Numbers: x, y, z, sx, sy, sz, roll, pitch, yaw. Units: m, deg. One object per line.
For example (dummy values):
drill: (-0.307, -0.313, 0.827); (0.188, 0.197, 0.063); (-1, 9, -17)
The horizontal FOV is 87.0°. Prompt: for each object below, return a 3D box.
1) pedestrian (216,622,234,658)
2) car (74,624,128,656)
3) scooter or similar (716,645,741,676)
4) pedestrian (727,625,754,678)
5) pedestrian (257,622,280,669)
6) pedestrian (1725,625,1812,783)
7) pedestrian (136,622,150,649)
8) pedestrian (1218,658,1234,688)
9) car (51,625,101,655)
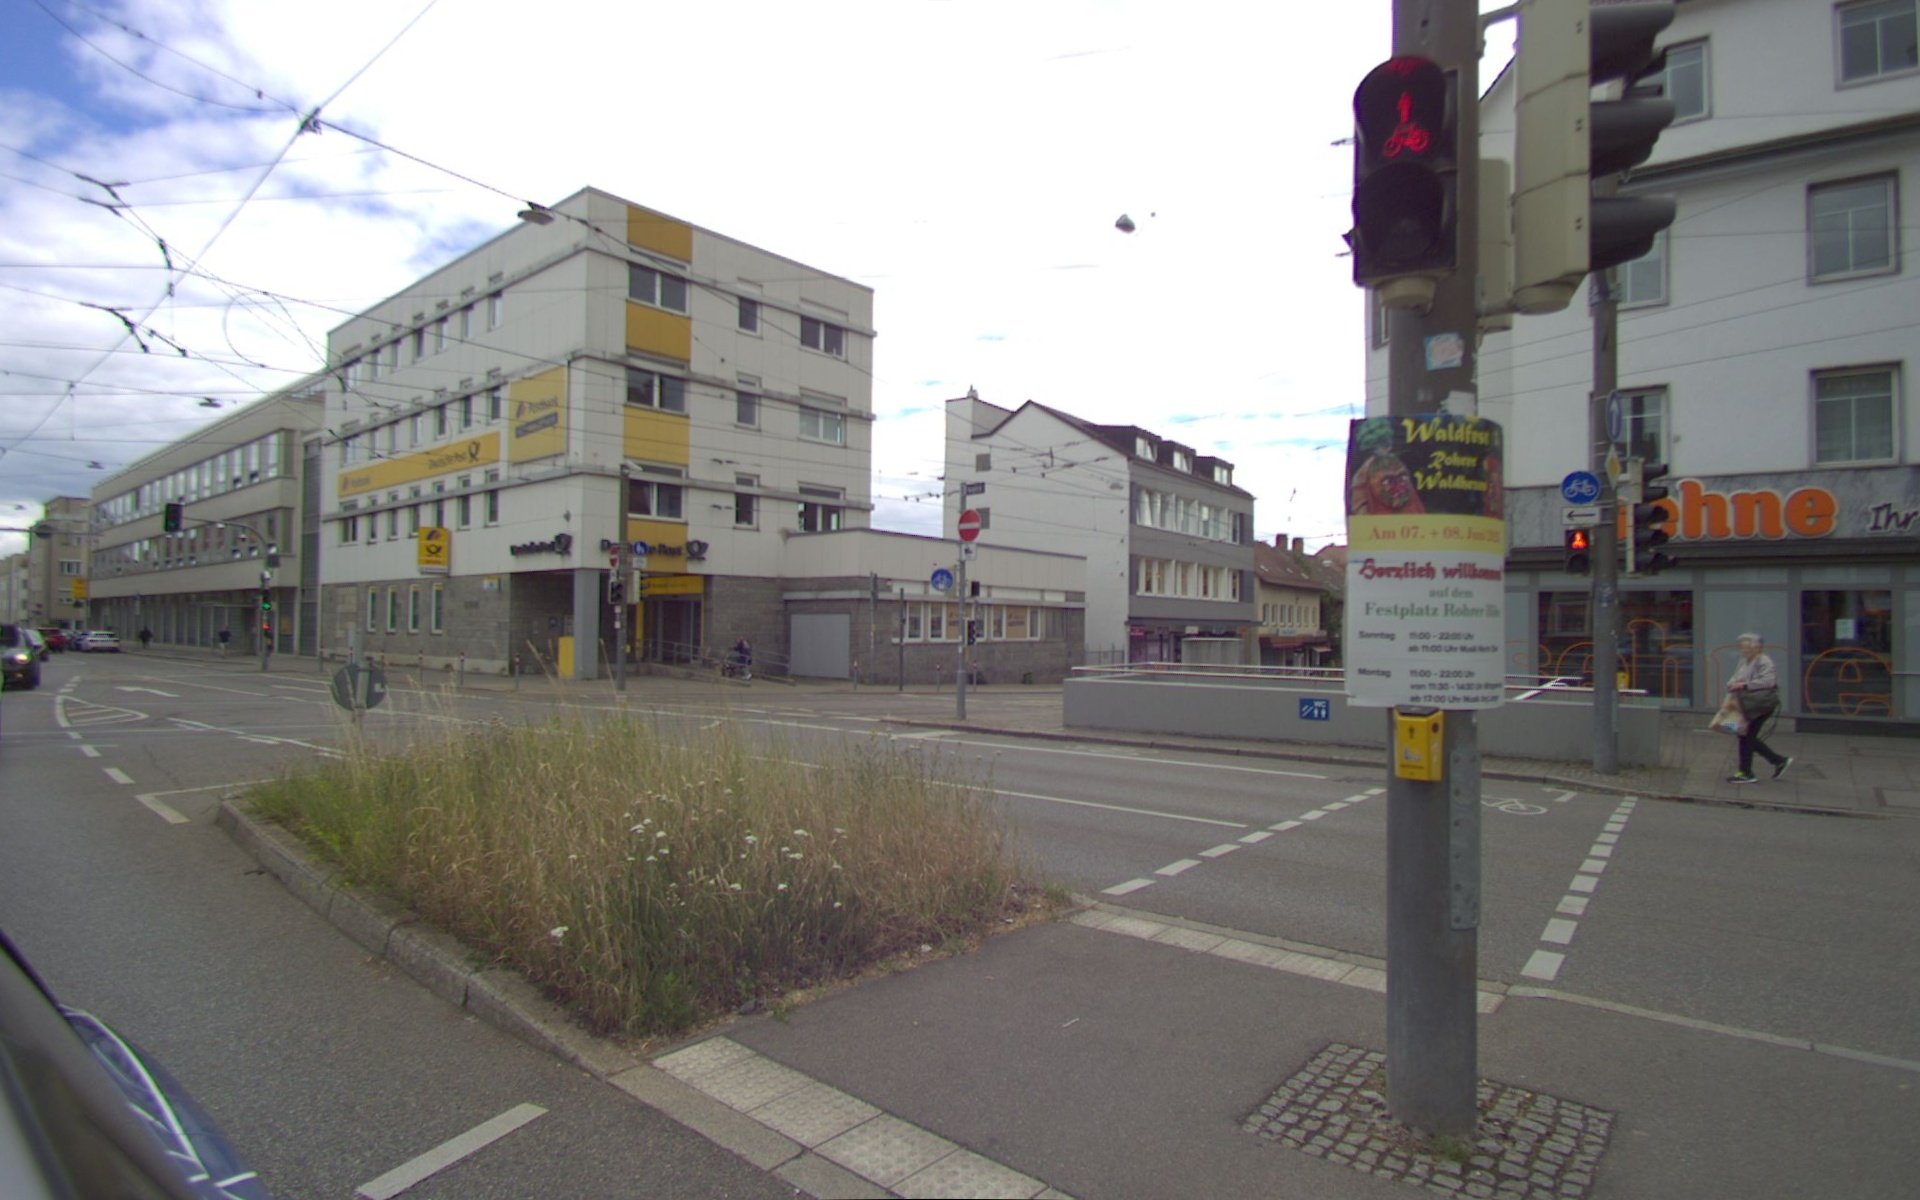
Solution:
pedestrian: (-38.175, 2.090, 52.572); (0.526, 1.816, 0.580); (-2, 0, 41)
car: (-57.583, 2.673, 67.837); (4.482, 2.029, 1.974); (-2, -2, 40)
scooter or similar: (-7.421, 1.929, 32.401); (0.617, 0.984, 0.502); (-1, -2, 39)
pedestrian: (-6.940, 1.621, 31.990); (0.615, 1.647, 0.580); (-2, -3, 41)
pedestrian: (-27.404, 1.803, 40.103); (0.526, 1.816, 0.580); (-2, 0, 41)
pedestrian: (8.977, 1.125, 11.258); (0.612, 1.647, 0.695); (-2, 0, 31)
pedestrian: (-57.263, 2.495, 70.928); (0.526, 1.816, 0.580); (-2, 0, 41)
pedestrian: (15.254, 4.180, 58.078); (0.613, 1.647, 0.687); (-2, 0, 35)
car: (-62.544, 2.776, 71.556); (4.482, 2.029, 1.974); (-2, -2, 40)
